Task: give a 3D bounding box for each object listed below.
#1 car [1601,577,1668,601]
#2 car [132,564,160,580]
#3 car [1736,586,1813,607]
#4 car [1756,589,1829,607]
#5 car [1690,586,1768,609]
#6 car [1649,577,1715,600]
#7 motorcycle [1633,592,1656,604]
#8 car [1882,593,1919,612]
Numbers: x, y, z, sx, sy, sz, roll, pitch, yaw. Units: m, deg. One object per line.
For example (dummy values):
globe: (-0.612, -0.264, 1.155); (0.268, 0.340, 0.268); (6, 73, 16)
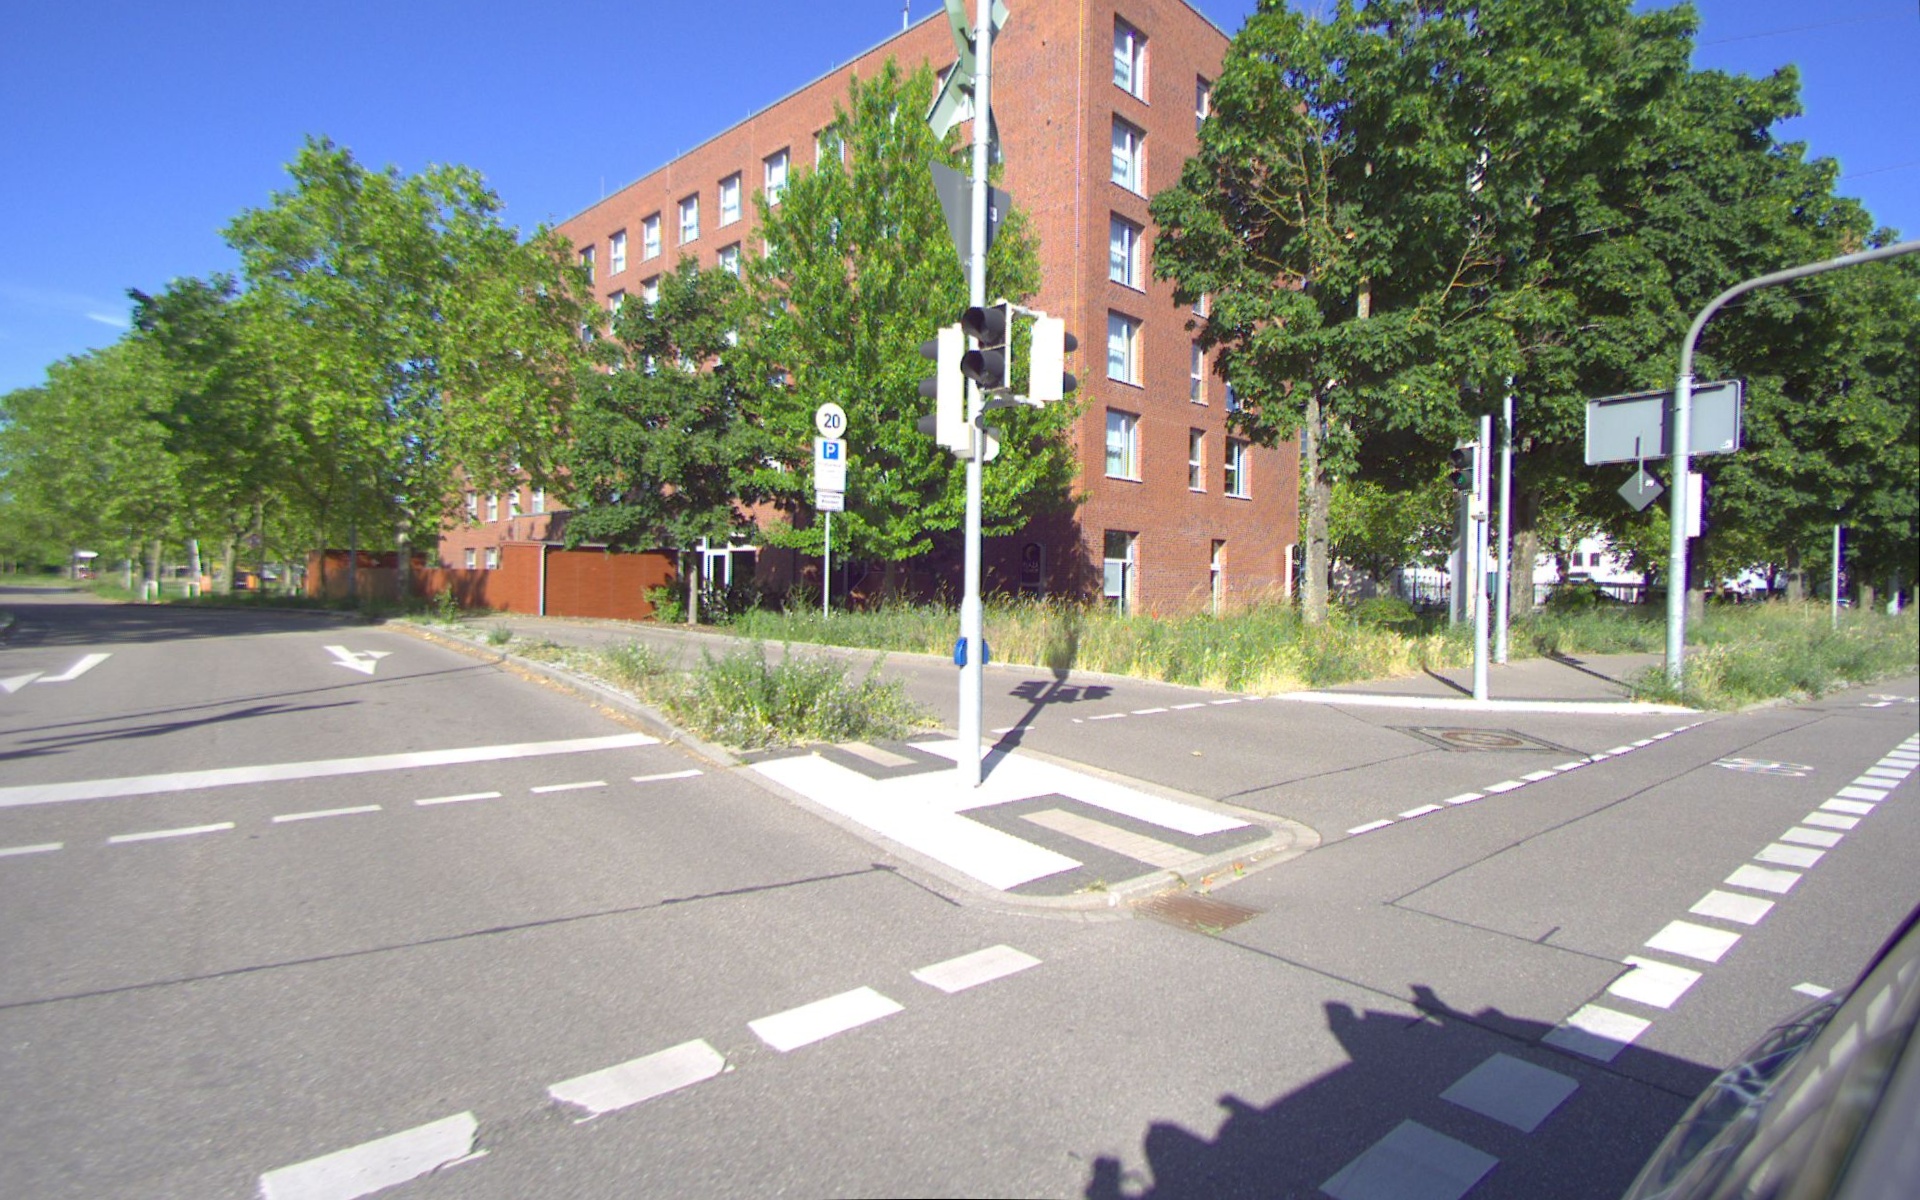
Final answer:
car: (60.329, -1.020, 90.563); (1.920, 2.039, 4.603); (1, 1, -34)
car: (-86.114, -2.975, 107.141); (1.927, 1.550, 4.002); (1, 1, -34)
car: (61.651, -0.286, 76.627); (1.789, 1.449, 4.182); (0, 1, -32)
car: (69.822, -0.184, 84.937); (1.901, 1.341, 4.312); (2, 1, -31)
car: (54.581, -0.172, 71.883); (1.705, 1.524, 4.044); (0, 1, -35)
car: (69.420, -1.126, 97.337); (1.937, 1.974, 4.765); (1, 1, -36)
motorcycle: (61.992, -0.166, 91.693); (0.528, 0.982, 1.654); (1, 1, -36)
car: (94.109, 0.265, 100.031); (1.737, 1.721, 4.339); (0, 2, -44)
